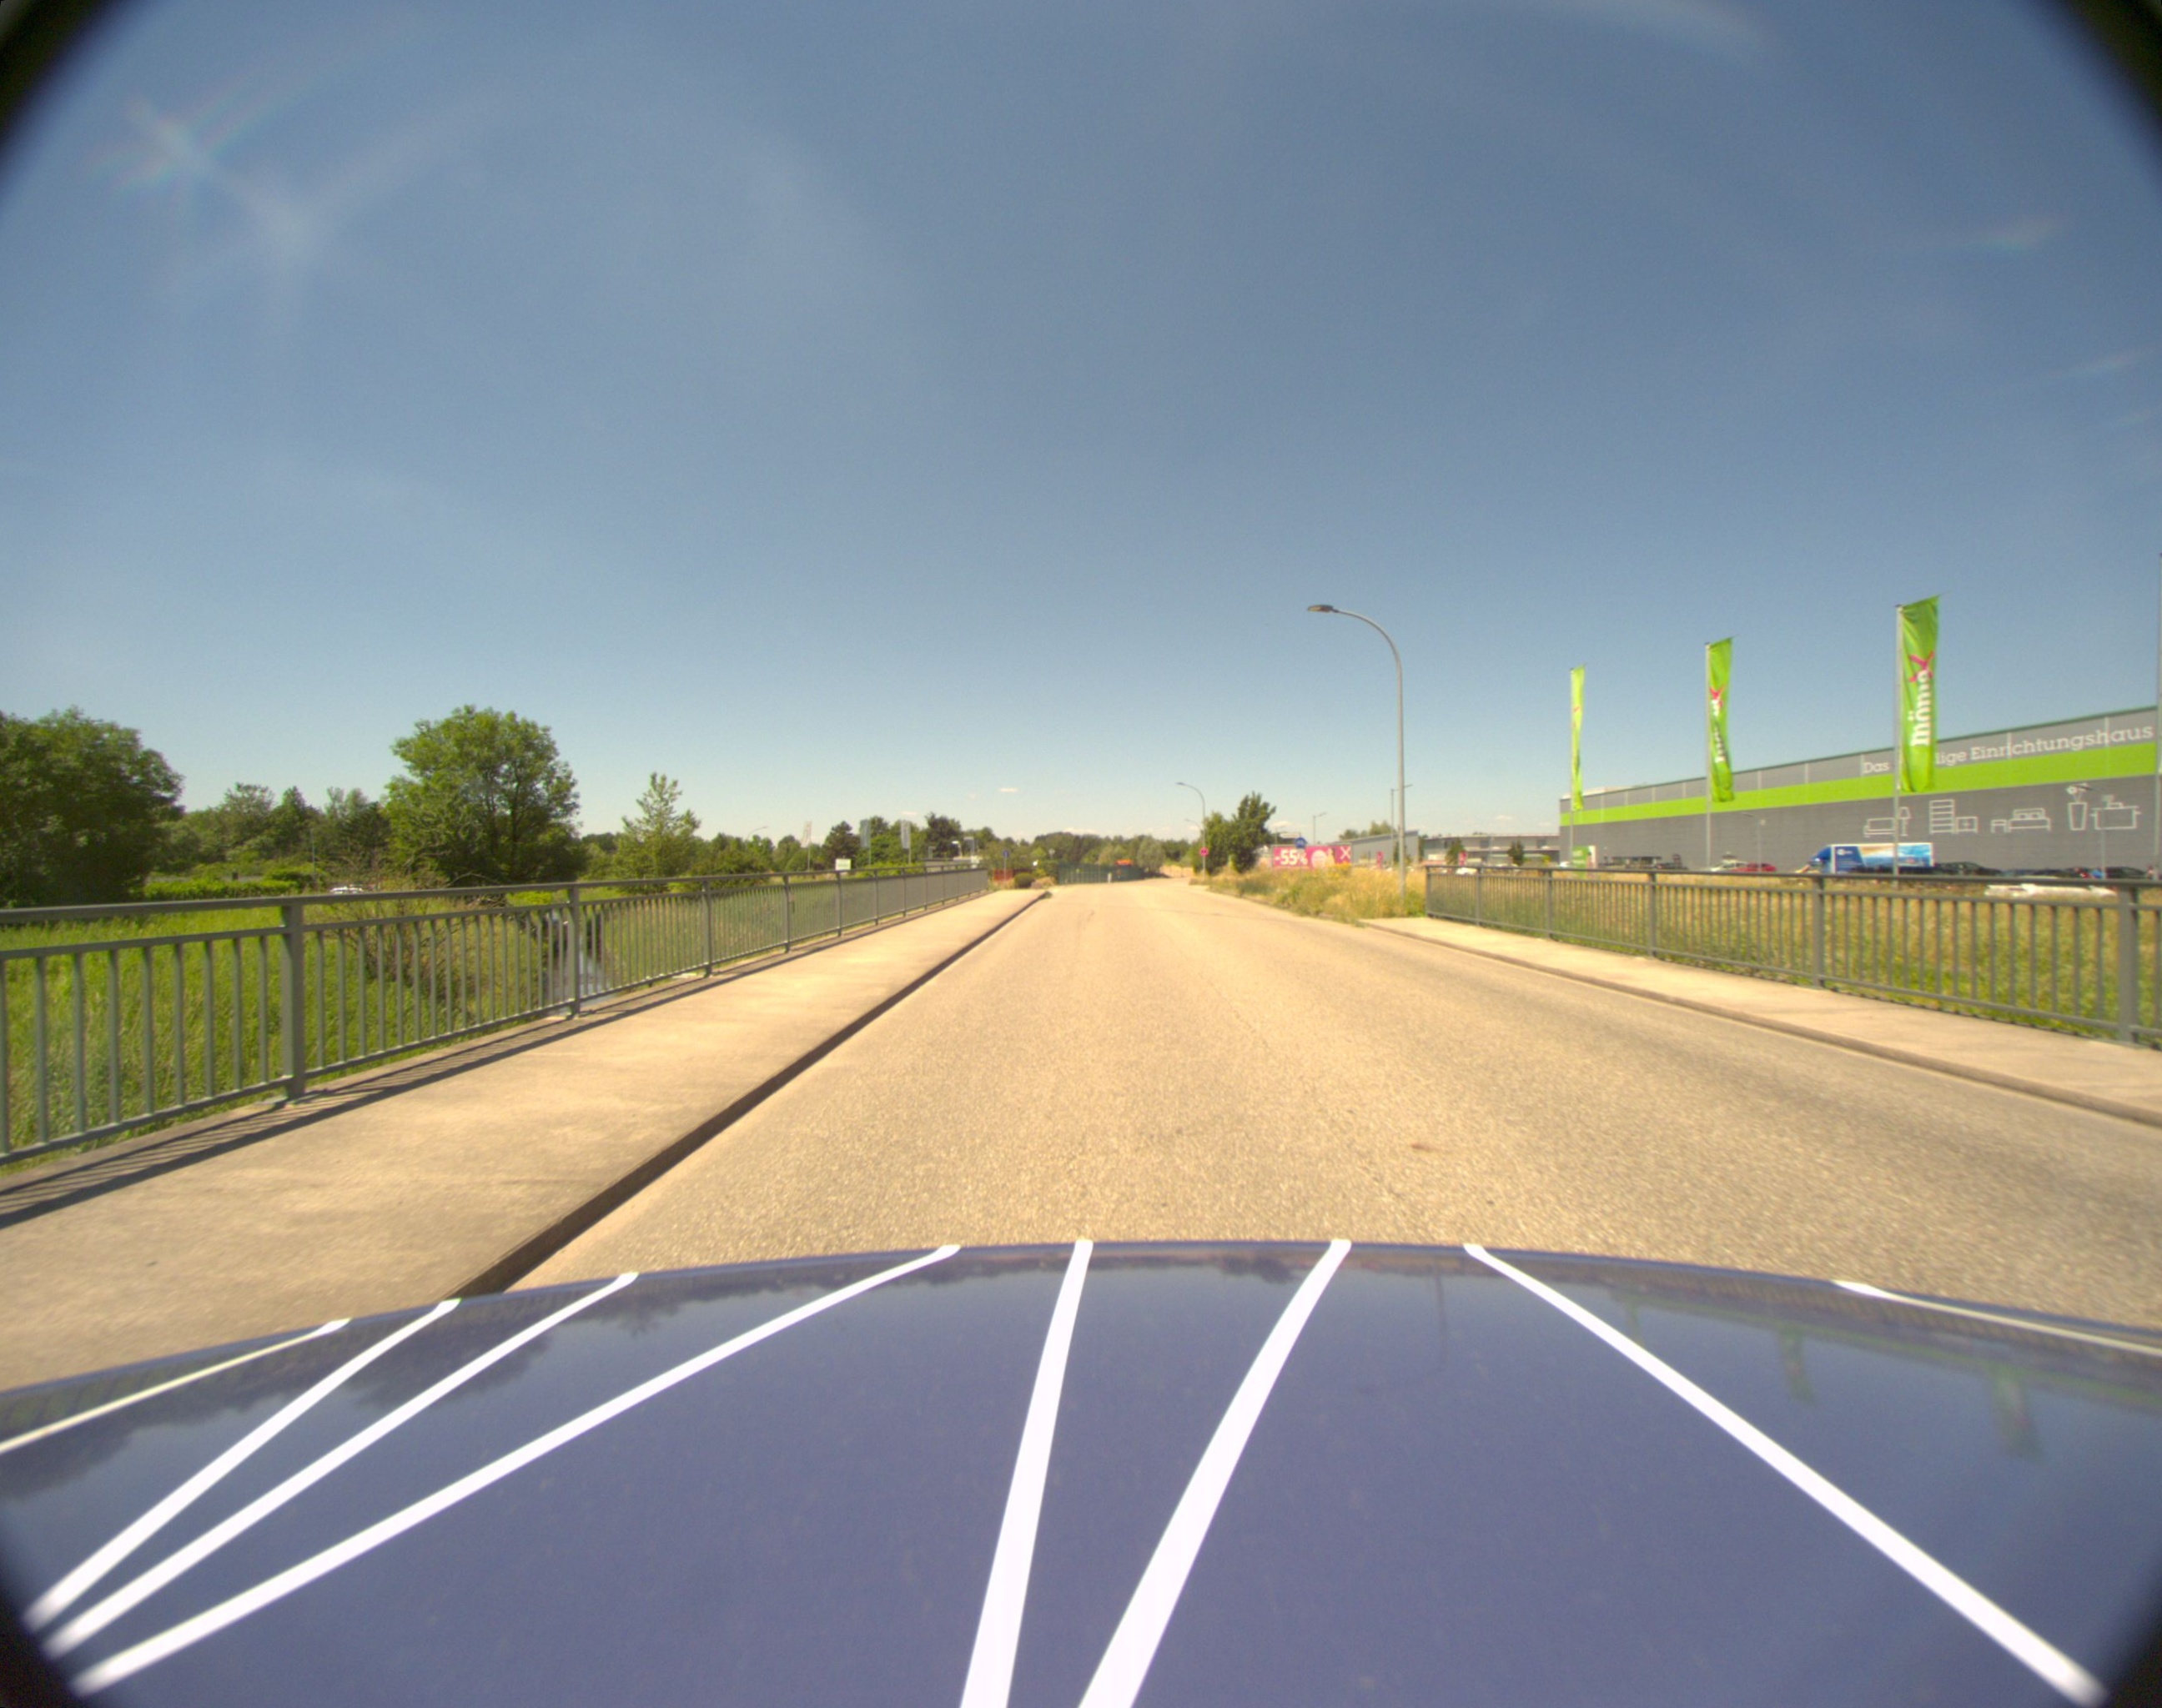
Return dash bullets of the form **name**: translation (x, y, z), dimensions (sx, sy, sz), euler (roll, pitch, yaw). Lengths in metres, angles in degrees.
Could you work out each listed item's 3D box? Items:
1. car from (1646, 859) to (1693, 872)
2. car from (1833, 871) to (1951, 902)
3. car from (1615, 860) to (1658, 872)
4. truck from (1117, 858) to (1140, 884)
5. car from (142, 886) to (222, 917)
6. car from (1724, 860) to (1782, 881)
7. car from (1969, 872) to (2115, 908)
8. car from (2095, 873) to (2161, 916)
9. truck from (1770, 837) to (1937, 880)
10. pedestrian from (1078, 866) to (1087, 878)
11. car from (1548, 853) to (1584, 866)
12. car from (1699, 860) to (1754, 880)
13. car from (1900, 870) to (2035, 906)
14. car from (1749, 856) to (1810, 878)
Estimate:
- **car**: translation (70.600, 1.409, 91.269), dimensions (3.995, 1.513, 2.002), euler (-1, -1, 7)
- **car**: translation (43.286, 1.716, 40.649), dimensions (3.996, 1.458, 2.001), euler (-2, -1, 4)
- **car**: translation (70.899, 1.545, 96.989), dimensions (3.995, 1.513, 2.002), euler (-1, -1, 7)
- **truck**: translation (8.114, 2.898, 130.068), dimensions (2.845, 4.171, 8.141), euler (-2, -2, 10)
- **car**: translation (-52.342, 2.724, 44.345), dimensions (2.004, 1.614, 4.501), euler (0, -1, -36)
- **car**: translation (68.615, 1.678, 77.654), dimensions (3.995, 2.001, 1.912), euler (-2, -1, 6)
- **car**: translation (43.253, 1.607, 34.279), dimensions (3.996, 1.428, 1.847), euler (-2, -1, 4)
- **car**: translation (42.475, 1.510, 29.224), dimensions (3.996, 1.503, 2.001), euler (-2, -1, 4)
- **truck**: translation (52.988, 0.403, 52.489), dimensions (7.756, 2.667, 2.968), euler (-3, -2, 39)
- **pedestrian**: translation (0.249, 3.264, 135.939), dimensions (1.303, 2.001, 1.218), euler (-2, -1, 10)
- **car**: translation (70.982, 0.795, 111.273), dimensions (3.995, 1.728, 2.001), euler (-2, 0, 6)
- **car**: translation (68.745, 1.722, 80.979), dimensions (3.993, 2.001, 1.913), euler (-2, -1, 11)
- **car**: translation (43.108, 1.636, 37.014), dimensions (3.996, 1.503, 2.001), euler (-2, -1, 4)
- **car**: translation (69.050, 1.251, 75.207), dimensions (3.995, 2.001, 2.001), euler (-2, -1, 5)
